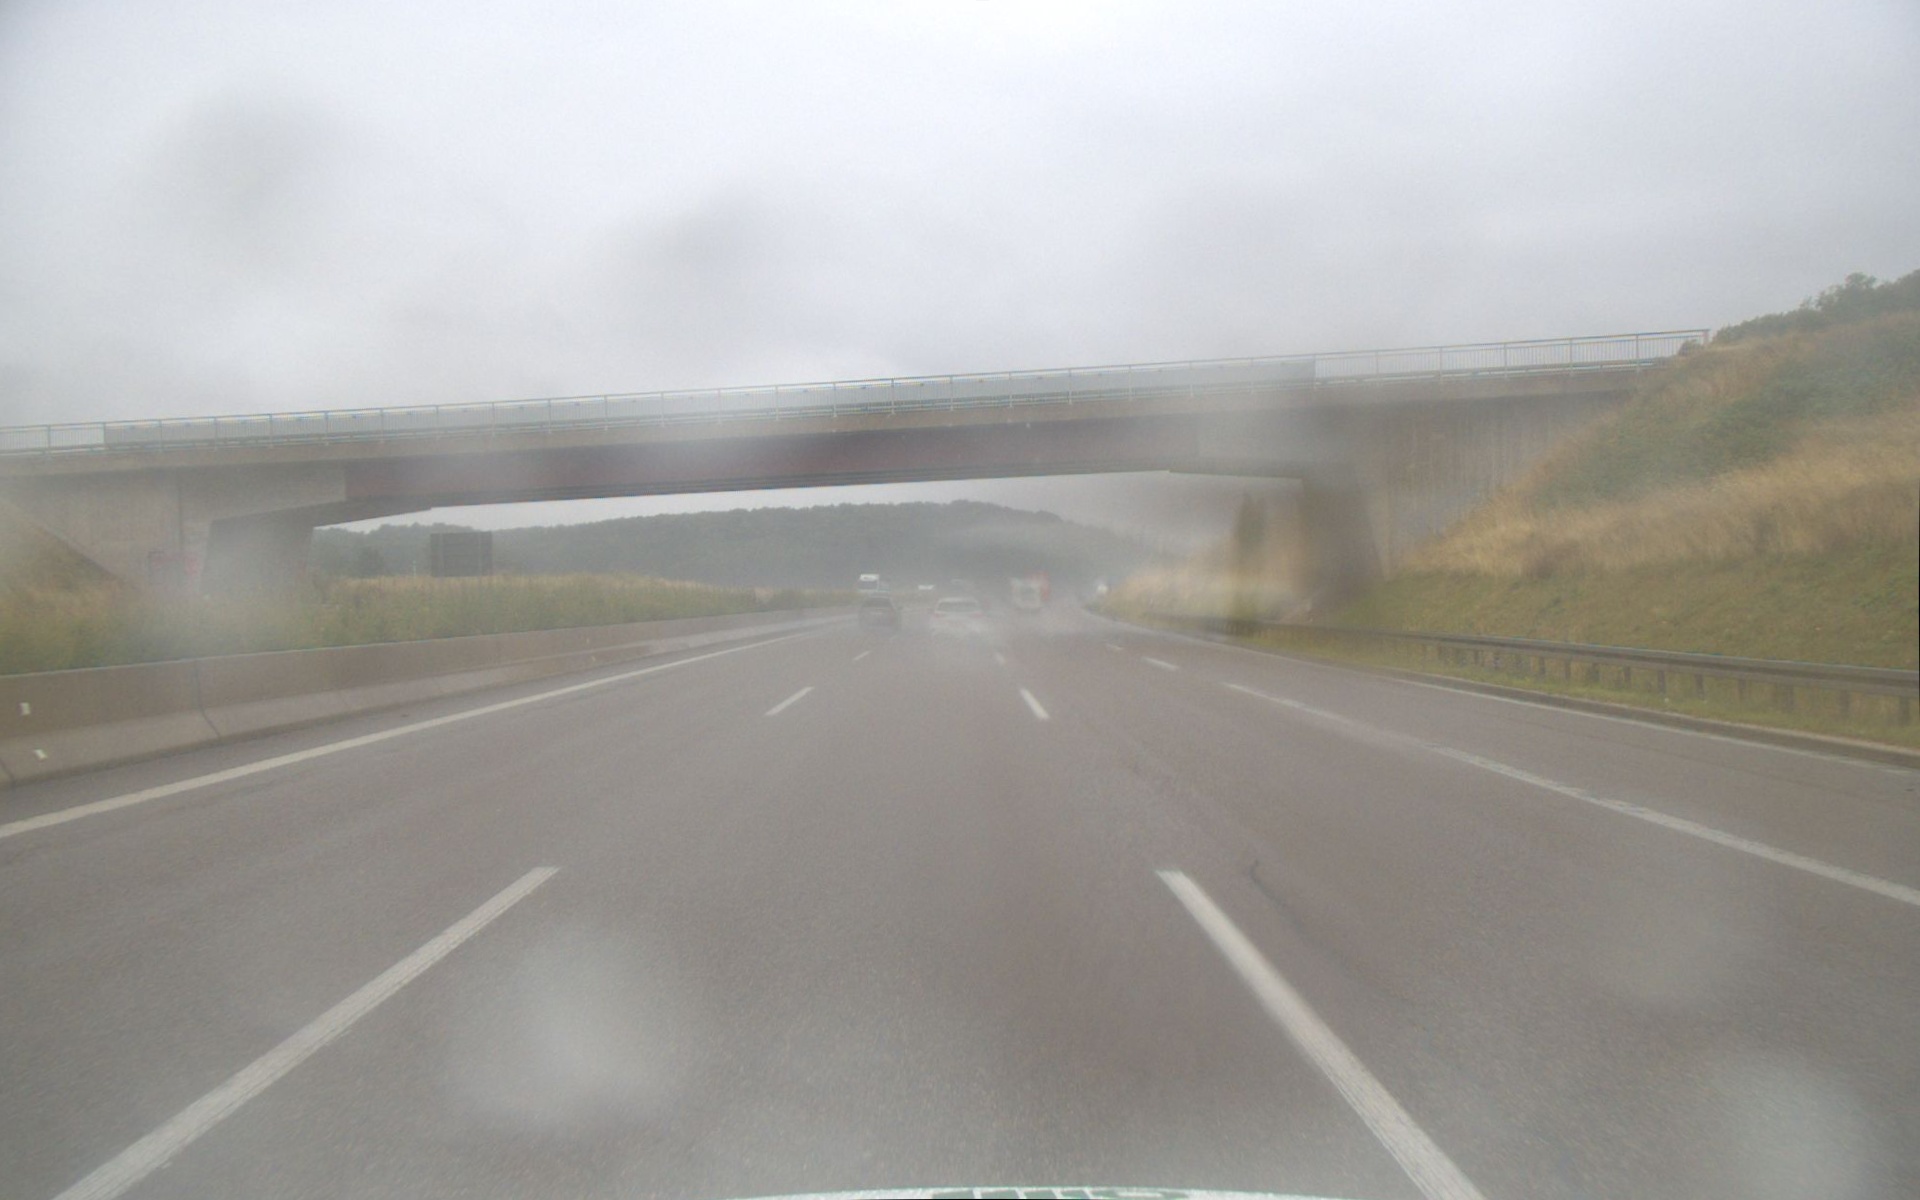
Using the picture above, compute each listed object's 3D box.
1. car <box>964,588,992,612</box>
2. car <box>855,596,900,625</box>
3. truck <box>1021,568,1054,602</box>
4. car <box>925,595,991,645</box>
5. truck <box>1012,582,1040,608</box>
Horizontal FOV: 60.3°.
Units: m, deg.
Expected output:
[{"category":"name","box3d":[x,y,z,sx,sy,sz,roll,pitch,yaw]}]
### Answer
[{"category":"car","box3d":[1.311,-0.001,118.420,1.952,1.646,4.001,0,0,2]},{"category":"car","box3d":[-3.492,0.487,70.870,1.787,1.177,4.211,1,-1,-1]},{"category":"truck","box3d":[9.113,-1.855,195.462,3.454,3.808,11.428,1,1,1]},{"category":"car","box3d":[-0.095,0.621,51.569,1.830,1.488,3.997,0,-1,-3]},{"category":"truck","box3d":[5.805,-0.453,144.986,2.357,2.292,4.695,0,0,3]}]
